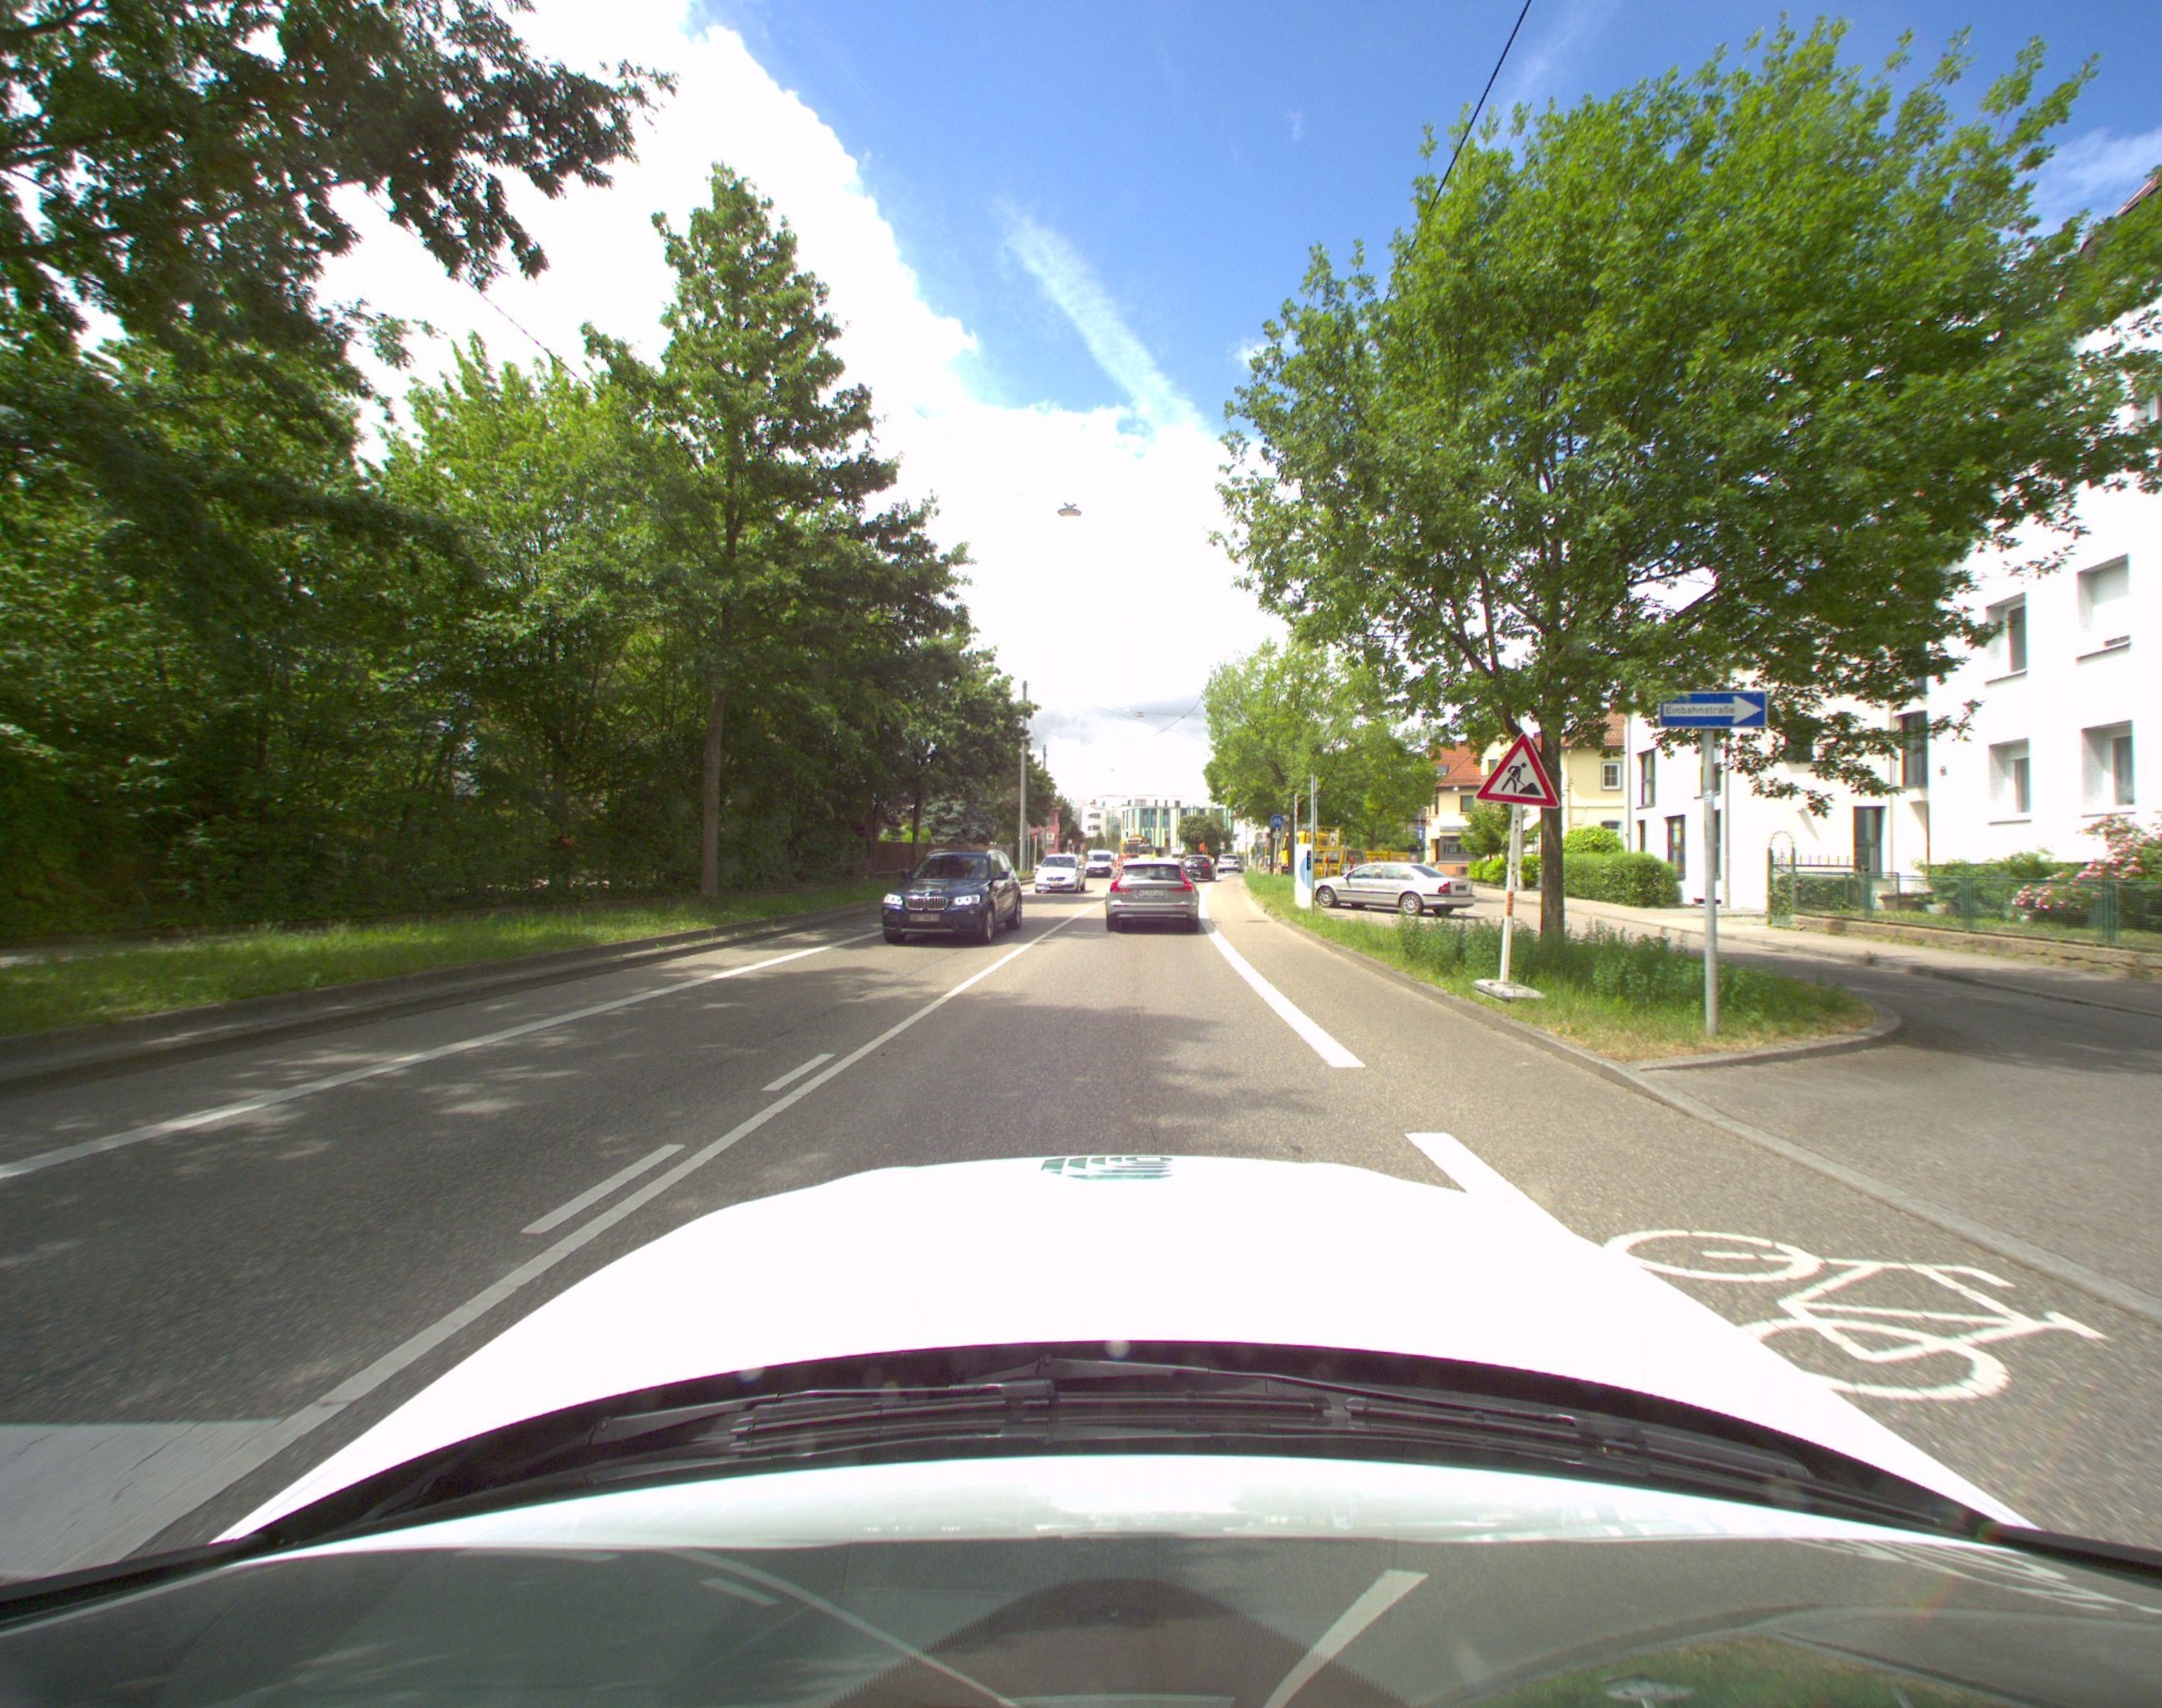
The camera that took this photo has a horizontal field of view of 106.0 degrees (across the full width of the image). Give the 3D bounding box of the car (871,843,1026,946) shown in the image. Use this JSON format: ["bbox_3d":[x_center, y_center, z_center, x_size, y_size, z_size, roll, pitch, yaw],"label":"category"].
[{"bbox_3d":[-2.338,0.684,15.535,1.871,1.687,4.253,-1,0,5],"label":"car"}]

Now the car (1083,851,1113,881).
[{"bbox_3d":[1.198,0.826,54.773,1.841,1.875,4.595,3,-1,2],"label":"car"}]

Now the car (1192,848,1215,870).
[{"bbox_3d":[12.280,0.535,81.436,1.980,2.014,4.013,3,-1,12],"label":"car"}]

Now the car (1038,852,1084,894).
[{"bbox_3d":[-0.791,0.790,34.166,1.702,1.618,4.001,0,-1,2],"label":"car"}]

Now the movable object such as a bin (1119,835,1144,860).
[{"bbox_3d":[6.248,-0.738,101.755,2.305,2.990,6.419,0,0,-3],"label":"movable object such as a bin"}]

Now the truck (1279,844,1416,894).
[{"bbox_3d":[11.983,0.620,36.996,2.010,2.014,5.611,4,-2,-40],"label":"truck"}]

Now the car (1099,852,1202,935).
[{"bbox_3d":[1.550,0.760,17.413,1.918,1.540,4.007,-1,0,6],"label":"car"}]

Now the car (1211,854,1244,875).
[{"bbox_3d":[11.723,0.839,65.320,2.093,1.510,4.004,3,-1,4],"label":"car"}]

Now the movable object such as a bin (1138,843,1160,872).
[{"bbox_3d":[6.575,0.332,78.179,2.025,2.643,5.947,0,0,5],"label":"movable object such as a bin"}]

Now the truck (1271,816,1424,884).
[{"bbox_3d":[13.051,-0.194,40.307,2.784,3.008,6.628,4,-2,-41],"label":"truck"}]

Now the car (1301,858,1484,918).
[{"bbox_3d":[8.822,0.911,23.412,1.776,1.452,4.636,2,0,-38],"label":"car"}]

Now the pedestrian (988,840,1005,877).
[{"bbox_3d":[-4.743,0.256,45.658,0.712,2.014,0.772,3,-2,3],"label":"pedestrian"}]
